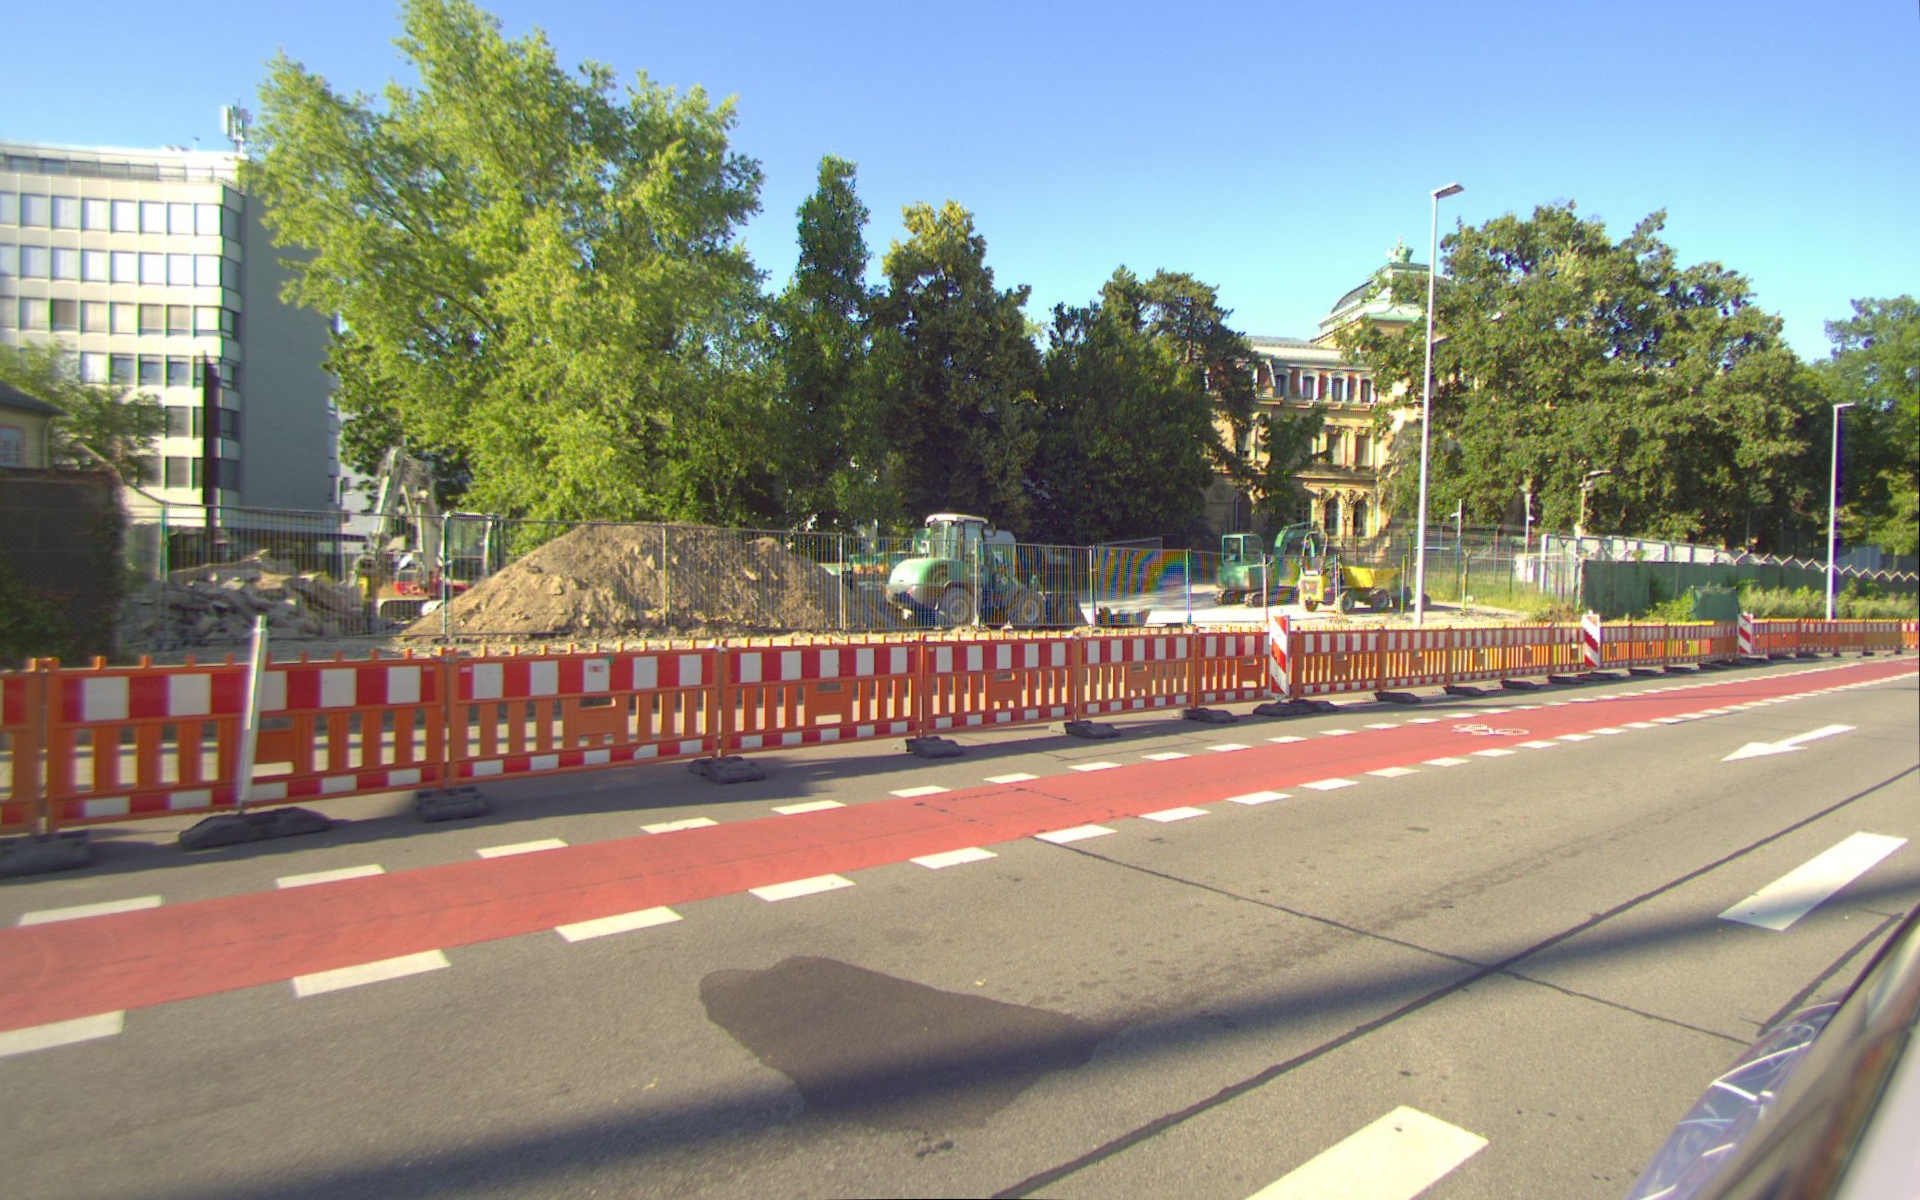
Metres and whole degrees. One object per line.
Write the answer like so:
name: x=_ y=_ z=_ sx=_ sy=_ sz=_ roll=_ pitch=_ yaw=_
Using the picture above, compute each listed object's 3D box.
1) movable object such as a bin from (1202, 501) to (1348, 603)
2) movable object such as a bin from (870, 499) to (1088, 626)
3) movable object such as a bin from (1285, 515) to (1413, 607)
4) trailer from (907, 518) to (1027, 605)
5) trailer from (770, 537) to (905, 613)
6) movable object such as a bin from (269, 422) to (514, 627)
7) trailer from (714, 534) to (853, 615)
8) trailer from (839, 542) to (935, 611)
movable object such as a bin: x=11.902 y=-1.728 z=38.075 sx=5.392 sy=3.601 sz=2.285 roll=0 pitch=1 yaw=-33
movable object such as a bin: x=0.524 y=-0.851 z=24.262 sx=4.852 sy=2.737 sz=2.282 roll=0 pitch=2 yaw=-38
movable object such as a bin: x=13.194 y=-1.287 z=34.298 sx=3.920 sy=2.940 sz=2.002 roll=0 pitch=1 yaw=-31
trailer: x=0.301 y=-1.593 z=40.247 sx=3.920 sy=3.126 sz=2.614 roll=-7 pitch=7 yaw=-41
trailer: x=-4.379 y=-0.956 z=35.475 sx=2.187 sy=2.349 sz=5.041 roll=-7 pitch=7 yaw=-40
movable object such as a bin: x=-11.555 y=-1.431 z=21.277 sx=2.802 sy=3.602 sz=6.094 roll=1 pitch=1 yaw=-12
trailer: x=-5.934 y=-0.933 z=33.607 sx=2.187 sy=2.349 sz=5.041 roll=-7 pitch=7 yaw=-40
trailer: x=-2.753 y=-0.951 z=37.929 sx=2.187 sy=2.349 sz=2.952 roll=-7 pitch=6 yaw=-41
